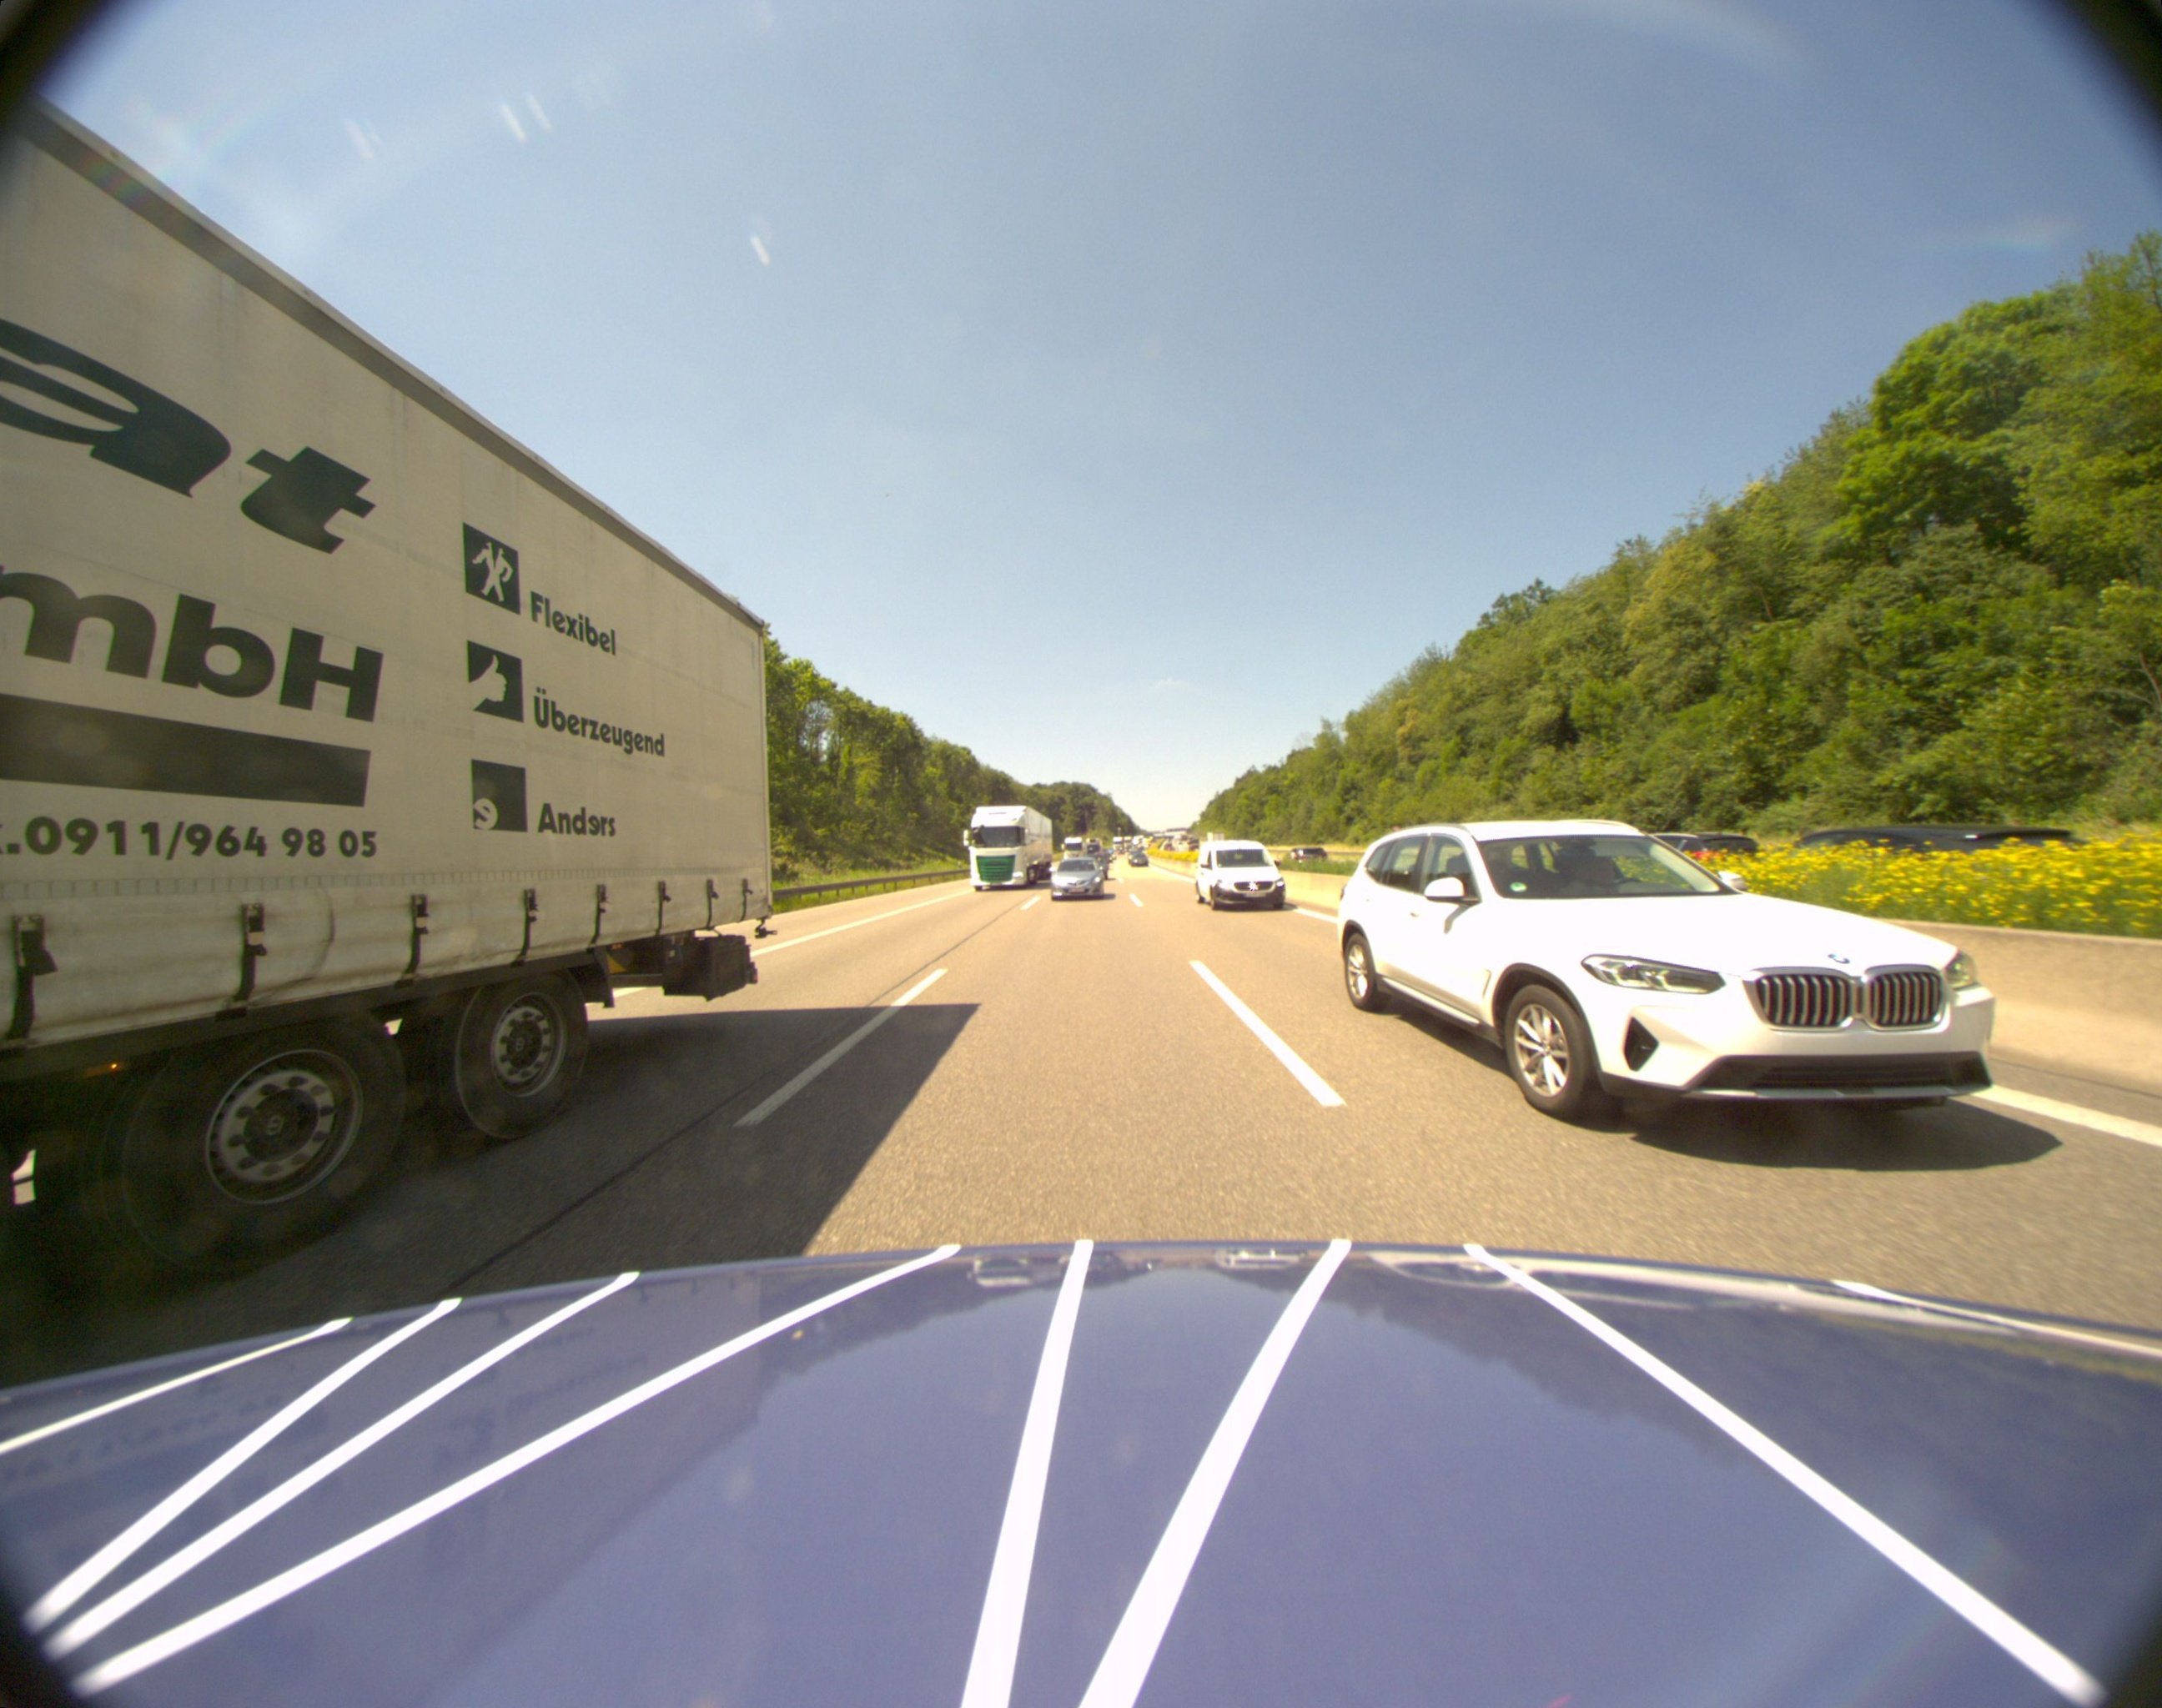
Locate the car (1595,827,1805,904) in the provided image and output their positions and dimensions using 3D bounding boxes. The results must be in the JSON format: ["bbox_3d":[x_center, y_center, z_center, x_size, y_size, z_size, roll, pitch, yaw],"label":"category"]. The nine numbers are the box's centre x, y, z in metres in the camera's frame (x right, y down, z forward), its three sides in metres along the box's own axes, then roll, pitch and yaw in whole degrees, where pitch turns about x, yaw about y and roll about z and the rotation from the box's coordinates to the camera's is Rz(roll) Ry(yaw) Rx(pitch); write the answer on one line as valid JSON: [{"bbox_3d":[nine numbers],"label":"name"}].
[{"bbox_3d":[15.061,0.250,18.819,1.953,1.632,3.980,-2,0,1],"label":"car"}]

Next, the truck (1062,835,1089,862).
[{"bbox_3d":[-0.658,-0.761,101.668,3.263,3.337,6.862,-2,1,1],"label":"truck"}]

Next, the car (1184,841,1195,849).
[{"bbox_3d":[20.427,-1.710,143.442,1.673,1.381,3.508,-2,0,1],"label":"car"}]

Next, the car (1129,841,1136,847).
[{"bbox_3d":[14.050,-2.758,207.636,1.998,1.728,4.000,-2,1,4],"label":"car"}]

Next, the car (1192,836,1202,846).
[{"bbox_3d":[30.162,-3.329,197.599,1.998,2.416,4.001,-2,0,2],"label":"car"}]

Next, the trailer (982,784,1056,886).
[{"bbox_3d":[-3.362,-1.051,45.561,2.574,5.011,15.270,-2,1,2],"label":"trailer"}]

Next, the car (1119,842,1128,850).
[{"bbox_3d":[10.174,-1.925,180.953,1.998,1.728,4.000,-2,1,2],"label":"car"}]

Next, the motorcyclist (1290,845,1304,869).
[{"bbox_3d":[12.029,0.157,42.293,0.624,1.326,0.577,-2,1,1],"label":"motorcyclist"}]

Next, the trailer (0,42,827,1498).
[{"bbox_3d":[-4.483,-0.240,2.237,2.793,4.180,13.244,-2,-1,0],"label":"trailer"}]

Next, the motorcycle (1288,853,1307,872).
[{"bbox_3d":[12.043,0.484,42.354,0.625,1.027,1.467,-2,0,1],"label":"motorcycle"}]

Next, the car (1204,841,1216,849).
[{"bbox_3d":[24.322,-1.764,143.208,1.618,1.381,3.508,-2,0,0],"label":"car"}]

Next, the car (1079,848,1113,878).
[{"bbox_3d":[0.889,0.528,45.681,1.887,1.696,4.084,-2,0,1],"label":"car"}]

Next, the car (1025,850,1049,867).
[{"bbox_3d":[-4.155,0.410,72.042,1.934,1.534,3.756,-2,0,1],"label":"car"}]

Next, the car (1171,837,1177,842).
[{"bbox_3d":[30.161,-4.635,247.014,1.849,1.464,4.000,-2,1,4],"label":"car"}]

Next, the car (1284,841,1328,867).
[{"bbox_3d":[15.953,-0.001,54.061,1.998,1.718,4.000,-2,0,1],"label":"car"}]

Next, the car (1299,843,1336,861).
[{"bbox_3d":[20.464,-0.145,65.775,1.998,1.499,4.000,-1,0,1],"label":"car"}]

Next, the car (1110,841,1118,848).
[{"bbox_3d":[8.790,-2.465,202.565,1.998,1.728,4.000,-2,1,4],"label":"car"}]

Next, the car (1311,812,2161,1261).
[{"bbox_3d":[3.343,0.710,5.427,1.869,1.684,4.956,-2,0,0],"label":"car"}]

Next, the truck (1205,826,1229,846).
[{"bbox_3d":[30.373,-4.021,170.307,3.718,4.171,13.793,-2,1,3],"label":"truck"}]

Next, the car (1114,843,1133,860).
[{"bbox_3d":[5.270,-0.321,93.832,1.999,2.002,3.999,-2,1,-1],"label":"car"}]

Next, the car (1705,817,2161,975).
[{"bbox_3d":[11.115,0.446,10.276,1.998,1.668,4.080,-2,0,1],"label":"car"}]

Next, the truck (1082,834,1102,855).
[{"bbox_3d":[2.136,-1.796,144.440,3.558,3.695,7.550,-2,1,2],"label":"truck"}]

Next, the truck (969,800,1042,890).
[{"bbox_3d":[-3.605,-0.446,37.740,2.541,4.006,6.625,-2,1,2],"label":"truck"}]

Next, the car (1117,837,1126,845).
[{"bbox_3d":[12.618,-4.054,236.876,2.697,2.467,6.585,-2,1,4],"label":"car"}]

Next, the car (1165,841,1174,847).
[{"bbox_3d":[22.920,-2.618,196.672,1.922,1.658,4.000,-2,1,2],"label":"car"}]

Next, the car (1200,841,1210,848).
[{"bbox_3d":[25.580,-2.030,156.641,1.618,1.381,3.508,-2,0,2],"label":"car"}]

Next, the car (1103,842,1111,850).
[{"bbox_3d":[6.220,-1.907,181.928,1.964,2.002,4.000,-2,0,1],"label":"car"}]

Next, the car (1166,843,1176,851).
[{"bbox_3d":[17.888,-1.325,151.068,1.602,1.500,3.360,-2,1,2],"label":"car"}]

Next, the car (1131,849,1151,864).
[{"bbox_3d":[6.231,0.250,79.207,1.720,1.470,4.000,-2,0,1],"label":"car"}]

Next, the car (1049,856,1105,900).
[{"bbox_3d":[-0.126,0.827,28.501,1.887,1.458,4.247,-2,0,0],"label":"car"}]

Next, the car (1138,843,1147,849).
[{"bbox_3d":[15.568,-2.041,192.729,1.998,1.426,4.001,-2,0,3],"label":"car"}]

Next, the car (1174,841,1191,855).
[{"bbox_3d":[15.125,-0.967,113.327,1.998,2.002,4.900,-2,1,2],"label":"car"}]

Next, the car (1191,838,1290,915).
[{"bbox_3d":[4.196,0.540,20.695,1.769,1.802,4.674,-2,0,1],"label":"car"}]

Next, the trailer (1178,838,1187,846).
[{"bbox_3d":[27.800,-3.336,208.497,1.998,2.002,4.000,-2,1,2],"label":"trailer"}]
